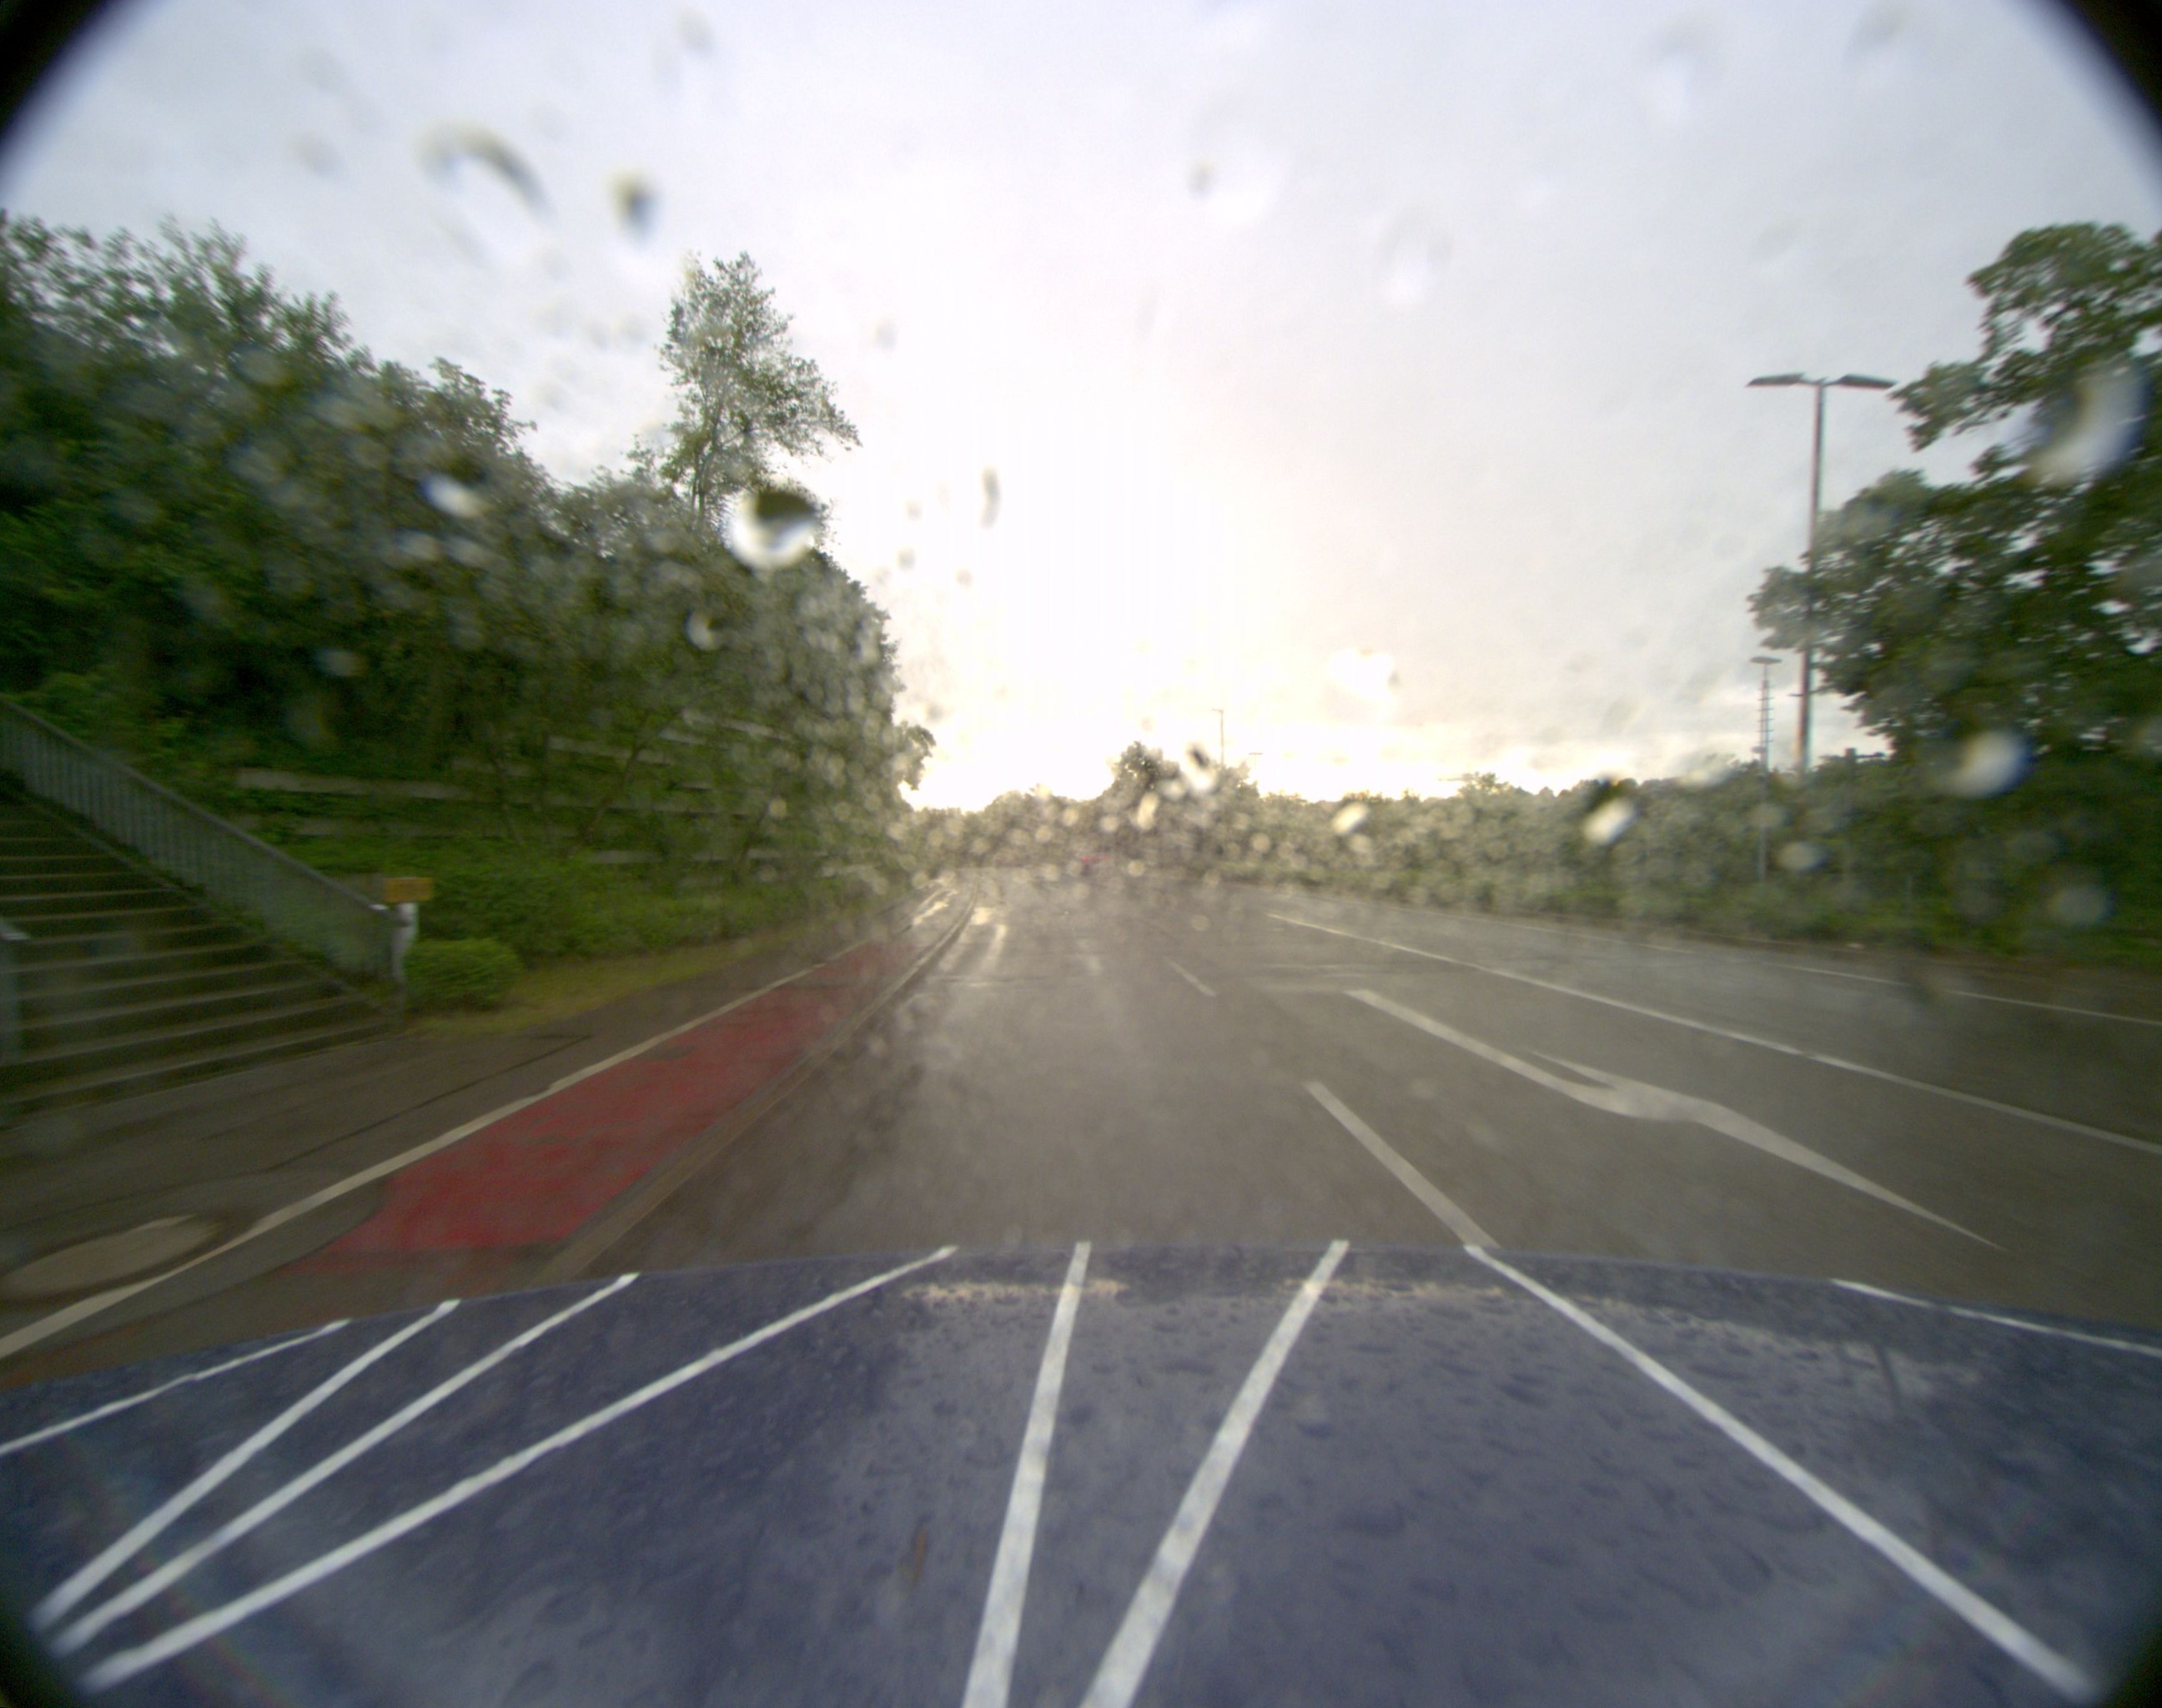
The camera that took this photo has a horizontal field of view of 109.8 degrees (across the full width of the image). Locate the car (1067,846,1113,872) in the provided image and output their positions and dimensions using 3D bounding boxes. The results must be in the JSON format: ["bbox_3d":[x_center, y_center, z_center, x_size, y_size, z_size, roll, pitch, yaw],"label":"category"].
[{"bbox_3d":[0.522,0.338,47.774,1.761,1.526,3.994,-1,0,-17],"label":"car"}]

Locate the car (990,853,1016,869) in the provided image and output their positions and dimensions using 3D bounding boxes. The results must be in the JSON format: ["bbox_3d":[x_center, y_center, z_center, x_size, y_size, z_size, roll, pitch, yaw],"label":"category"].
[{"bbox_3d":[-7.902,0.721,76.477,1.730,1.454,4.536,-3,1,-16],"label":"car"}]
